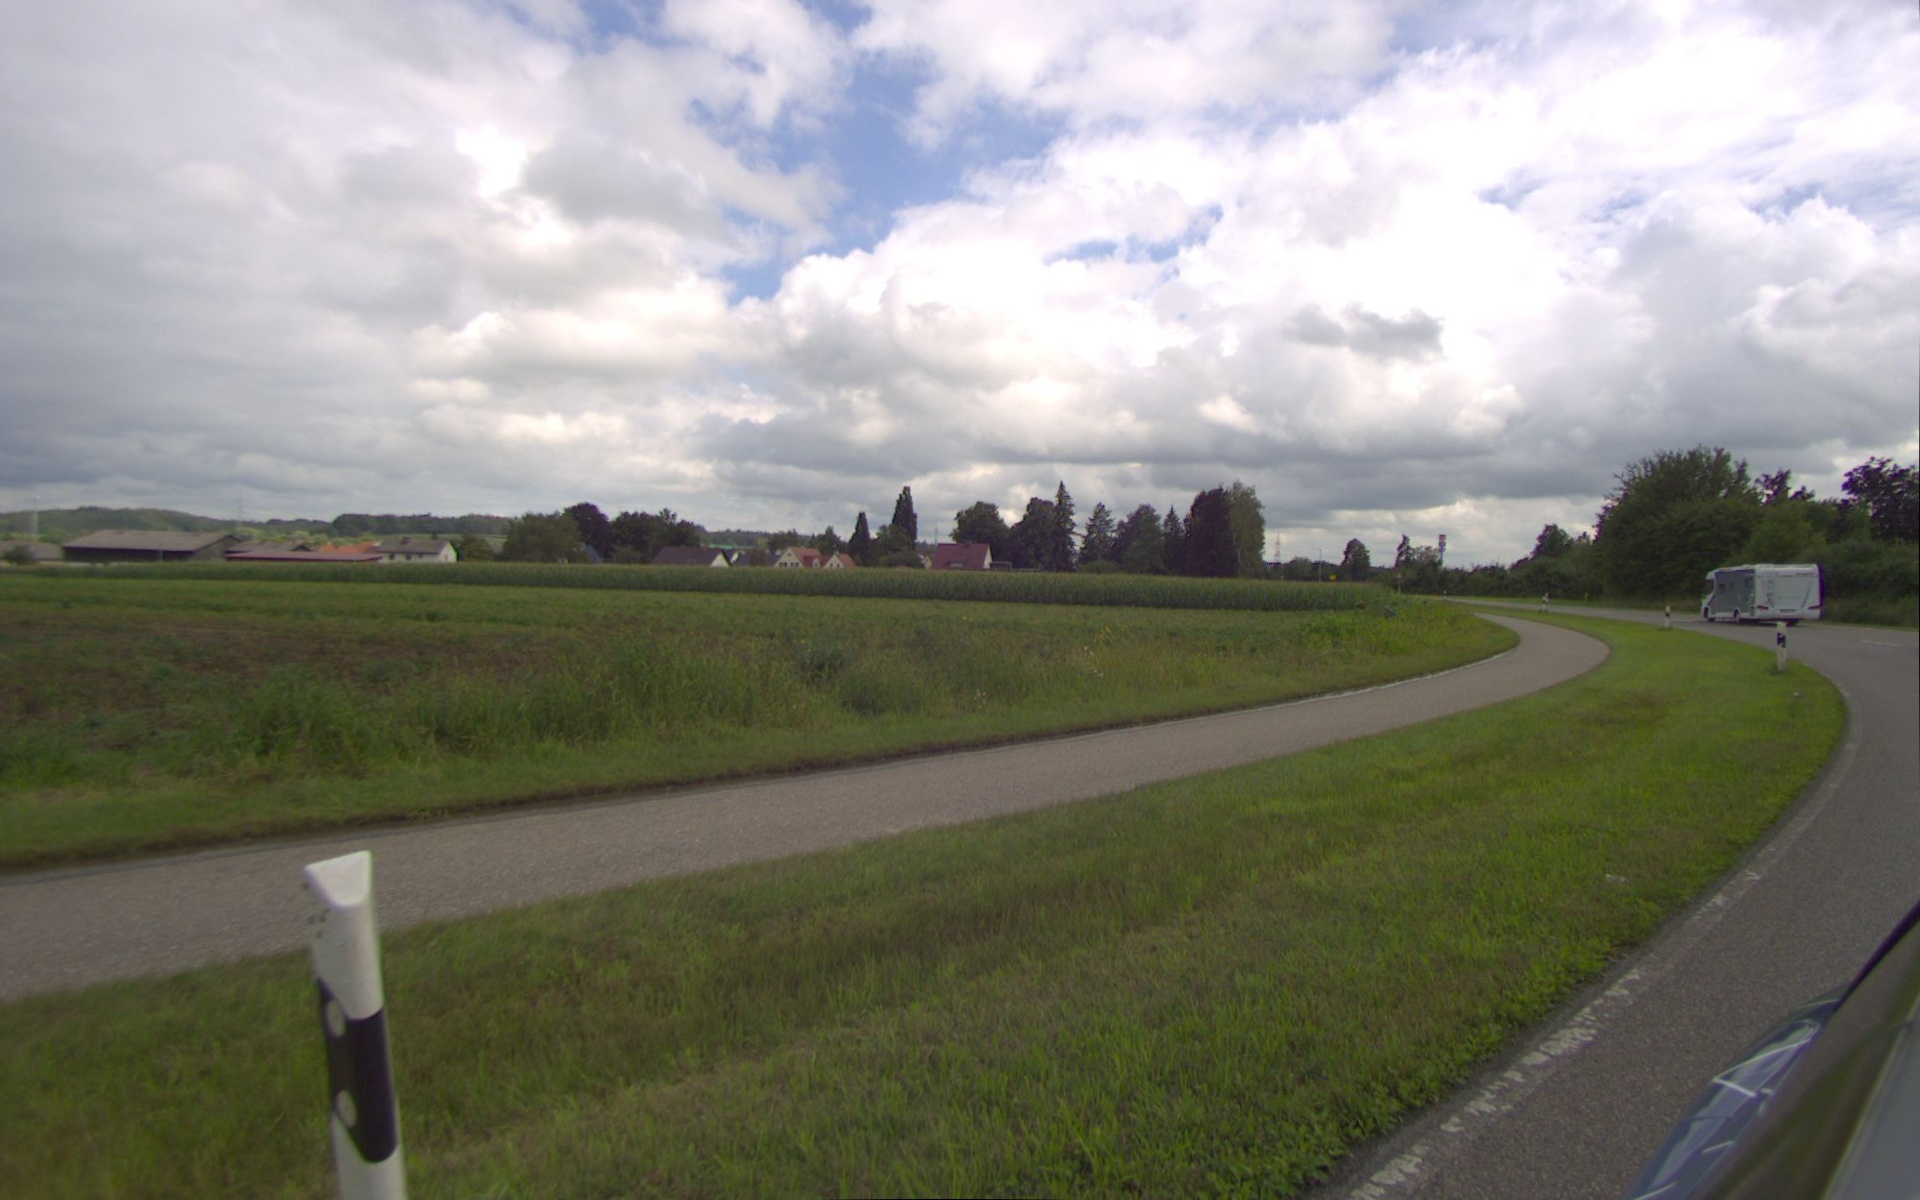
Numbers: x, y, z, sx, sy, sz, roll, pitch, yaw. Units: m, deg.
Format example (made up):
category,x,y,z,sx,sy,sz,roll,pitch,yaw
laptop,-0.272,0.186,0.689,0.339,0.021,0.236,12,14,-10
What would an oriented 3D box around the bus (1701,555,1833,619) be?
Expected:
category,x,y,z,sx,sy,sz,roll,pitch,yaw
bus,37.935,-0.657,47.920,2.454,2.745,8.370,1,1,21
